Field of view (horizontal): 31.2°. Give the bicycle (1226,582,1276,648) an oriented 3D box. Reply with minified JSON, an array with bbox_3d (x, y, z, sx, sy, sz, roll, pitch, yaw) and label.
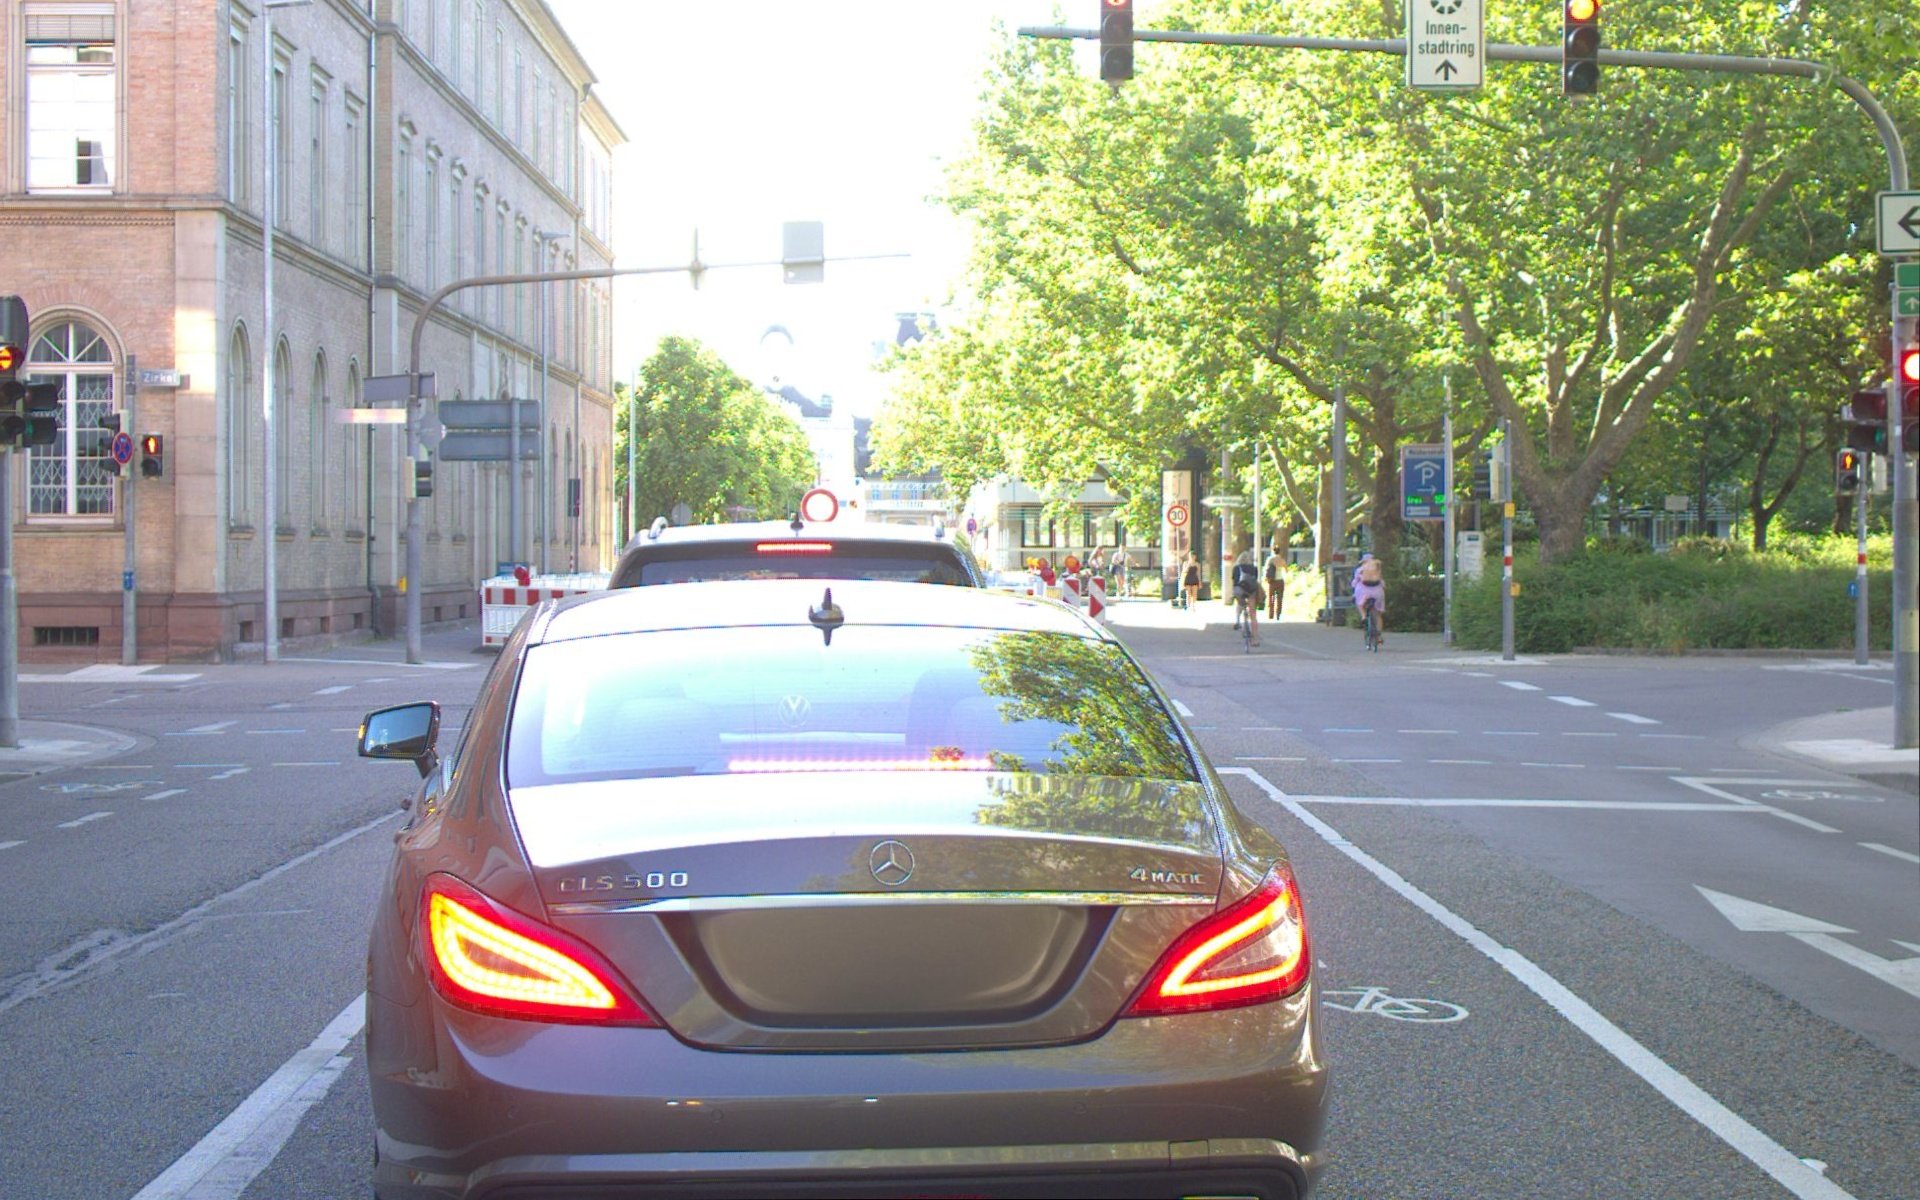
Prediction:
[{"bbox_3d":[4.791,0.236,56.662,0.610,1.023,1.731,2,1,-1],"label":"bicycle"}]

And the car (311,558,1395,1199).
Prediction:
[{"bbox_3d":[-0.445,0.646,7.923,1.821,1.471,4.354,0,1,-7],"label":"car"}]

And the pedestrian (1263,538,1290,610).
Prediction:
[{"bbox_3d":[7.352,-0.603,79.836,0.559,1.672,0.565,0,1,-1],"label":"pedestrian"}]

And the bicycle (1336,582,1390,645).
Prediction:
[{"bbox_3d":[6.621,0.213,56.535,0.600,0.981,1.881,2,1,-1],"label":"bicycle"}]

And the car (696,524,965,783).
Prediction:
[{"bbox_3d":[-0.878,0.309,23.484,1.681,1.619,3.841,0,1,-2],"label":"car"}]

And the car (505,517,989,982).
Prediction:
[{"bbox_3d":[-0.807,0.496,13.909,1.681,1.619,3.841,0,1,-2],"label":"car"}]

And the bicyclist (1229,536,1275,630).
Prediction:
[{"bbox_3d":[4.804,-0.282,56.597,0.610,1.511,0.890,2,1,-1],"label":"bicyclist"}]

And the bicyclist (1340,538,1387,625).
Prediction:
[{"bbox_3d":[6.630,-0.311,56.484,0.600,1.397,0.931,2,1,-1],"label":"bicyclist"}]
